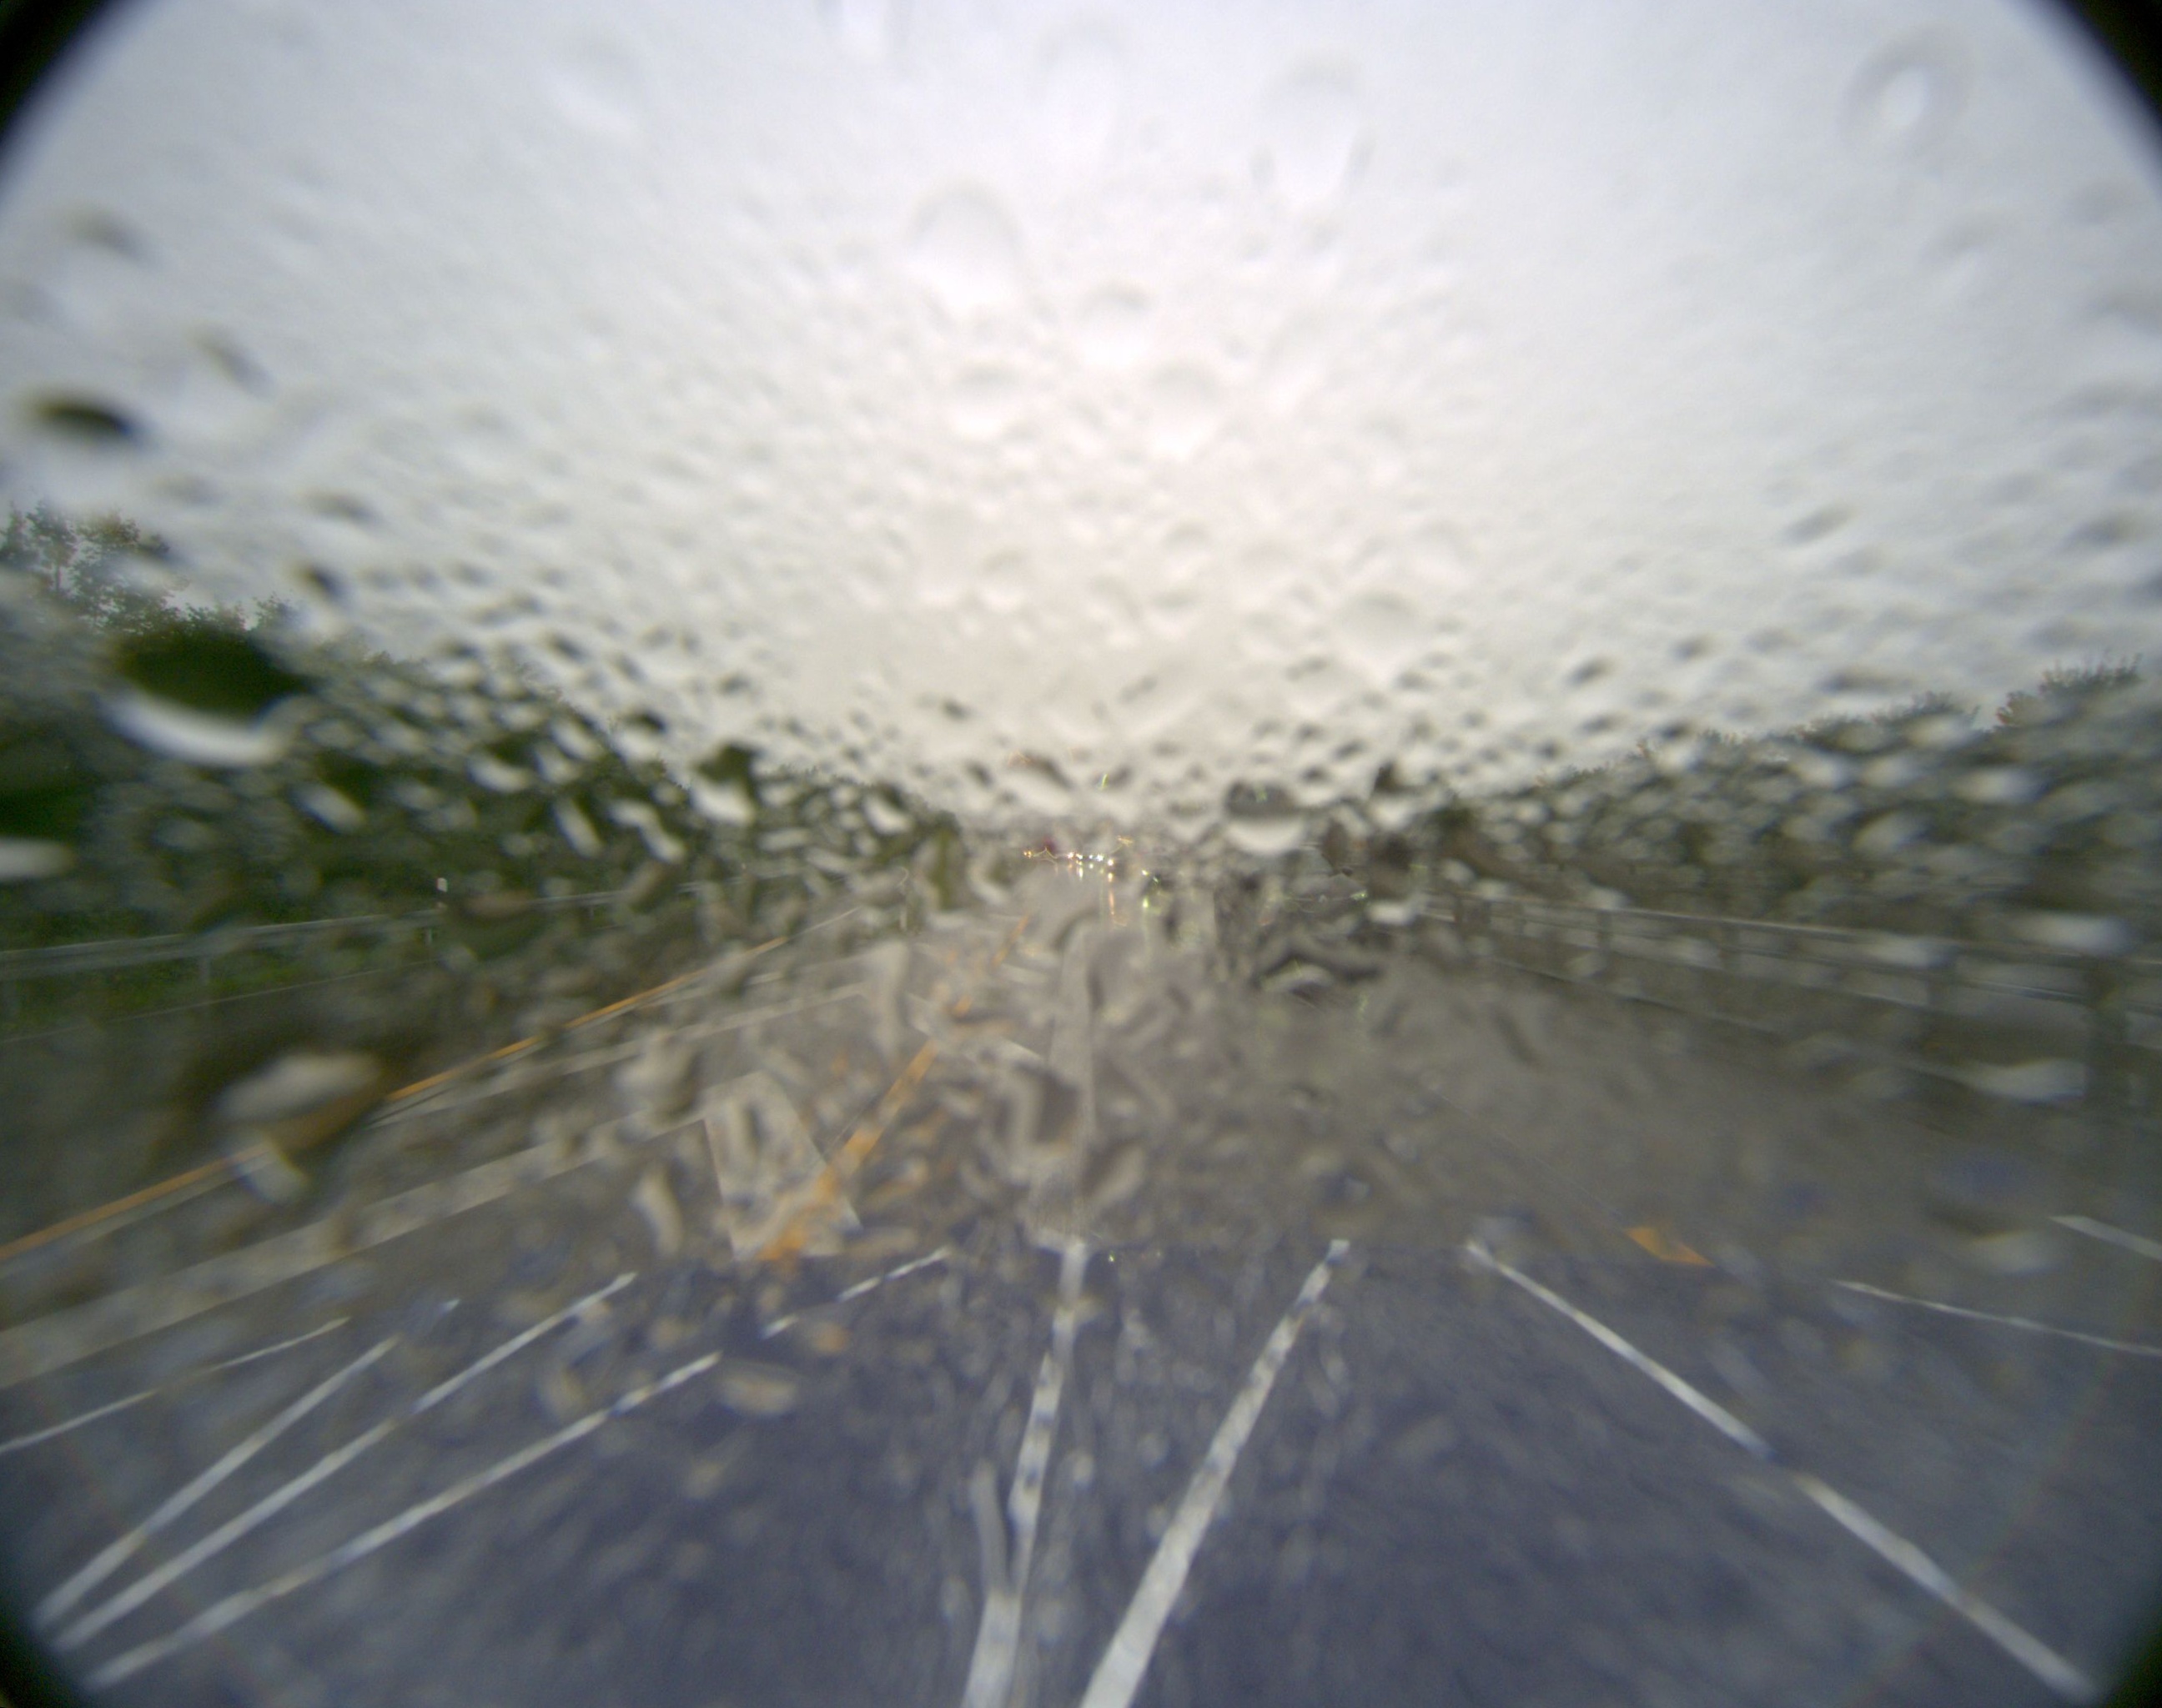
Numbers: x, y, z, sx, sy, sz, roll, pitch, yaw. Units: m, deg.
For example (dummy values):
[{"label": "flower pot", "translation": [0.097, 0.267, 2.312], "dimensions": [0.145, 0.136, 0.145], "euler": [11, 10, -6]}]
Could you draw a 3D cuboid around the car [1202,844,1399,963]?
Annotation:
[{"label": "car", "translation": [3.414, 0.663, 12.785], "dimensions": [1.998, 1.576, 4.413], "euler": [-2, 1, 0]}]

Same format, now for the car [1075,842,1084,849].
[{"label": "car", "translation": [-0.409, -2.338, 206.083], "dimensions": [1.897, 1.796, 5.053], "euler": [-2, 1, -4]}]

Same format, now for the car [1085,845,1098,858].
[{"label": "car", "translation": [1.466, -0.379, 110.120], "dimensions": [1.695, 1.740, 3.999], "euler": [-2, 1, -1]}]

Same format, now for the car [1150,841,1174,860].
[{"label": "car", "translation": [8.295, -0.403, 78.357], "dimensions": [1.896, 1.796, 5.054], "euler": [-2, 1, 1]}]

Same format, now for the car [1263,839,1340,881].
[{"label": "car", "translation": [9.880, 0.232, 34.479], "dimensions": [1.956, 1.707, 5.102], "euler": [-2, 1, -1]}]

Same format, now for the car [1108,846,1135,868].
[{"label": "car", "translation": [3.110, 0.213, 58.202], "dimensions": [1.978, 1.586, 4.310], "euler": [-1, -1, 3]}]

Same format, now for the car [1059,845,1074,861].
[{"label": "car", "translation": [-1.831, -0.159, 98.998], "dimensions": [1.881, 2.002, 3.999], "euler": [-2, 1, -1]}]

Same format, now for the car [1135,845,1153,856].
[{"label": "car", "translation": [8.093, -0.454, 97.880], "dimensions": [1.705, 1.420, 3.831], "euler": [-2, 1, -4]}]

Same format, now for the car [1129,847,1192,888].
[{"label": "car", "translation": [3.174, 0.498, 31.155], "dimensions": [1.999, 1.489, 4.629], "euler": [-2, 1, -1]}]

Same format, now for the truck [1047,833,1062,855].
[{"label": "truck", "translation": [-5.107, -1.978, 148.809], "dimensions": [2.484, 4.061, 8.702], "euler": [-2, 1, 0]}]

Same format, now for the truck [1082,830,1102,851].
[{"label": "truck", "translation": [2.521, -3.170, 183.334], "dimensions": [3.284, 4.809, 15.977], "euler": [-2, 1, -4]}]

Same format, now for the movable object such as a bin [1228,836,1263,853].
[{"label": "movable object such as a bin", "translation": [23.745, -1.431, 110.175], "dimensions": [3.448, 2.281, 5.097], "euler": [-2, 1, -7]}]

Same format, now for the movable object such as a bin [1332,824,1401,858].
[{"label": "movable object such as a bin", "translation": [25.719, -1.155, 68.815], "dimensions": [3.774, 2.782, 6.329], "euler": [-2, 1, 0]}]

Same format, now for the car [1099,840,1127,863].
[{"label": "car", "translation": [3.071, -0.259, 73.847], "dimensions": [2.211, 2.002, 5.562], "euler": [-2, 1, -1]}]

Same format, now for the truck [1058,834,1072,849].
[{"label": "truck", "translation": [-5.241, -3.990, 244.772], "dimensions": [3.593, 4.809, 15.977], "euler": [-2, 1, -4]}]

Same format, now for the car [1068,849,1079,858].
[{"label": "car", "translation": [-1.289, -0.081, 133.192], "dimensions": [1.845, 1.586, 3.999], "euler": [-2, 1, -1]}]

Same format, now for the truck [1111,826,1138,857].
[{"label": "truck", "translation": [7.186, -2.012, 128.220], "dimensions": [3.283, 4.809, 15.981], "euler": [-2, 1, -1]}]
